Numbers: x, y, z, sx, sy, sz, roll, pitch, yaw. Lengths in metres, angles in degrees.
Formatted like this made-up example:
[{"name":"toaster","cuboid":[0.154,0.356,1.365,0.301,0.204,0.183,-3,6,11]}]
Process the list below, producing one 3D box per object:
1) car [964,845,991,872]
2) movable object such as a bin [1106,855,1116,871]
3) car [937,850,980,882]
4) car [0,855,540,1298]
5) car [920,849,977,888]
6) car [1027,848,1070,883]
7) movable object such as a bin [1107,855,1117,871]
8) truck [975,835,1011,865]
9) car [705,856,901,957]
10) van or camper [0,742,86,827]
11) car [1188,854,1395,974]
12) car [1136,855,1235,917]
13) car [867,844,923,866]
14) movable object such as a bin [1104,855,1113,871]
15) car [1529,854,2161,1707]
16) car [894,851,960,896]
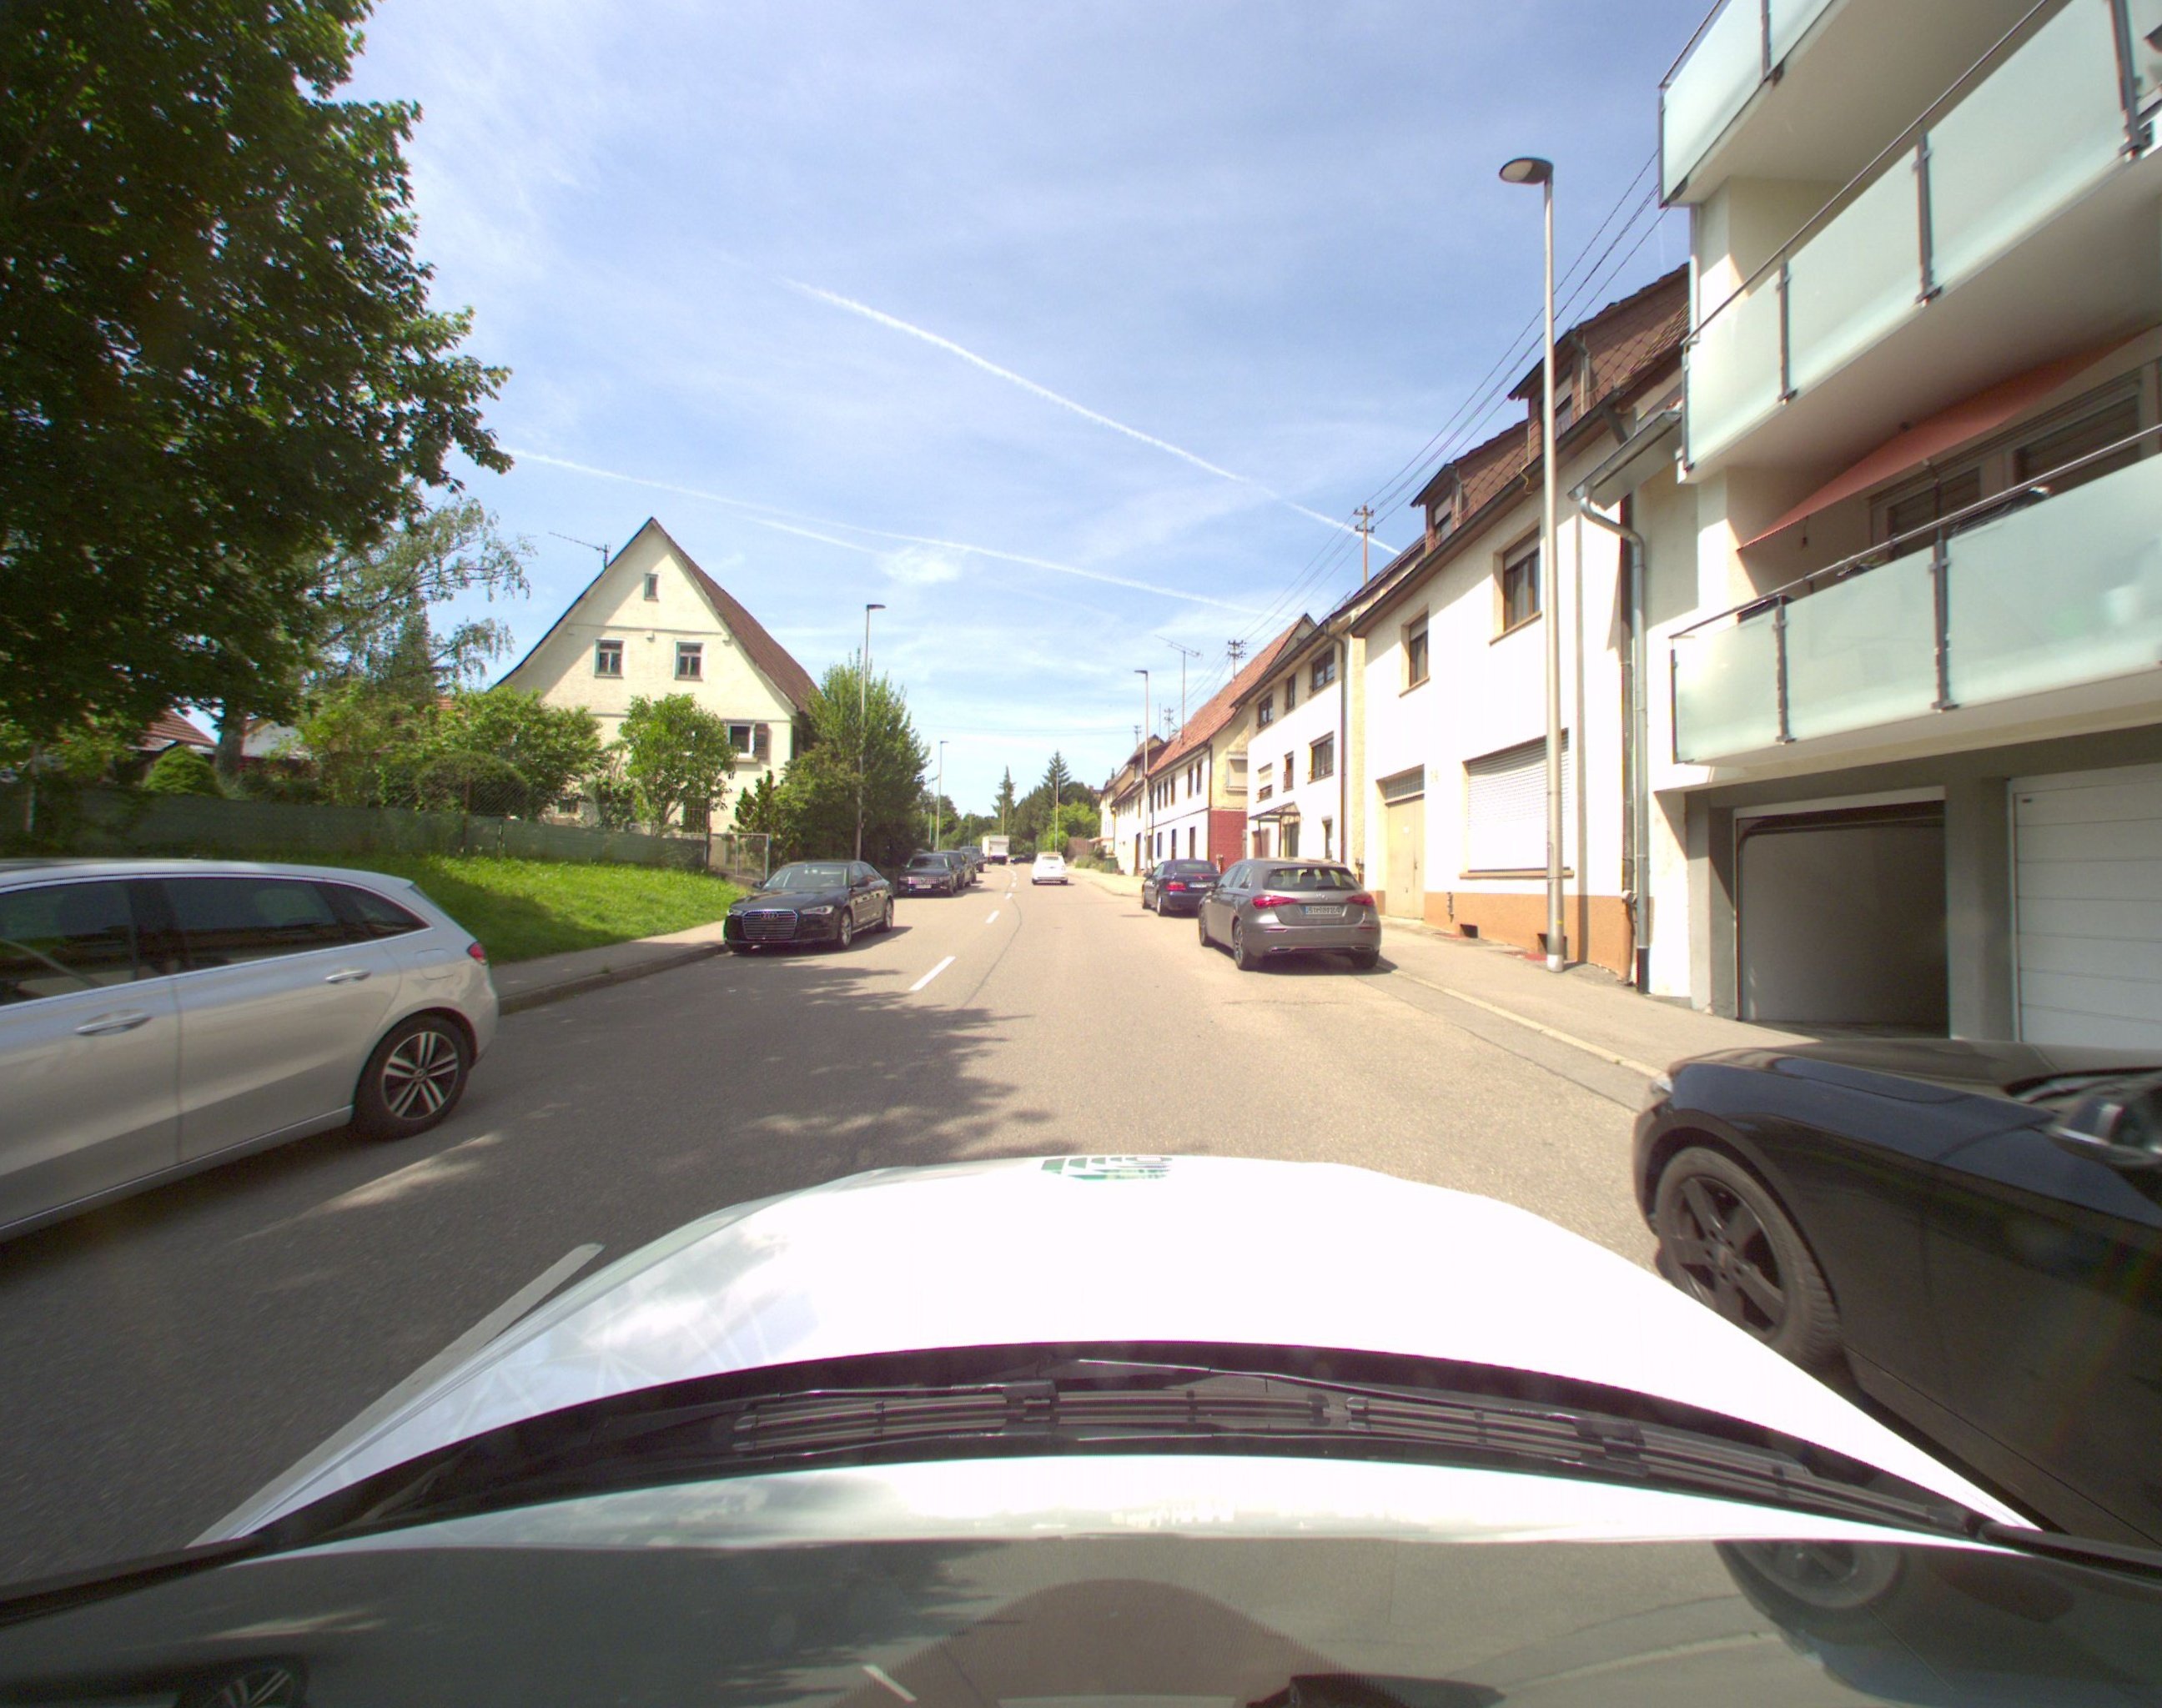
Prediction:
[{"name":"car","cuboid":[-7.892,0.310,61.810,1.890,1.937,4.970,0,0,-9]},{"name":"movable object such as a bin","cuboid":[1.939,0.583,53.041,0.546,1.033,0.550,-2,0,-6]},{"name":"car","cuboid":[-5.992,0.545,40.149,1.816,1.473,4.766,0,0,-6]},{"name":"car","cuboid":[-4.589,0.781,3.279,1.764,1.527,4.226,-1,0,4]},{"name":"car","cuboid":[-5.502,0.550,34.276,1.750,1.521,4.298,0,1,-2]},{"name":"car","cuboid":[-1.594,0.542,38.987,1.723,1.560,3.990,1,0,-7]},{"name":"movable object such as a bin","cuboid":[2.009,0.577,52.420,0.546,1.033,0.550,-2,0,-6]},{"name":"truck","cuboid":[-11.327,-0.448,104.125,3.076,3.774,7.820,1,-1,-17]},{"name":"car","cuboid":[-4.670,0.788,14.559,1.798,1.423,4.928,0,1,0]},{"name":"van or camper","cuboid":[-27.224,-1.753,19.383,1.986,2.013,4.002,3,0,2]},{"name":"car","cuboid":[2.818,0.717,11.967,1.789,1.403,4.409,-1,0,-2]},{"name":"car","cuboid":[2.515,0.731,20.534,1.663,1.352,4.180,1,0,-4]},{"name":"car","cuboid":[-15.032,0.075,65.939,4.234,1.405,1.813,5,-1,-14]},{"name":"movable object such as a bin","cuboid":[1.829,0.571,54.187,0.546,1.033,0.550,-2,0,-6]},{"name":"car","cuboid":[2.676,0.708,1.213,1.790,1.424,4.292,0,-1,2]},{"name":"car","cuboid":[-5.374,0.642,28.956,1.785,1.463,4.704,0,0,-5]}]
